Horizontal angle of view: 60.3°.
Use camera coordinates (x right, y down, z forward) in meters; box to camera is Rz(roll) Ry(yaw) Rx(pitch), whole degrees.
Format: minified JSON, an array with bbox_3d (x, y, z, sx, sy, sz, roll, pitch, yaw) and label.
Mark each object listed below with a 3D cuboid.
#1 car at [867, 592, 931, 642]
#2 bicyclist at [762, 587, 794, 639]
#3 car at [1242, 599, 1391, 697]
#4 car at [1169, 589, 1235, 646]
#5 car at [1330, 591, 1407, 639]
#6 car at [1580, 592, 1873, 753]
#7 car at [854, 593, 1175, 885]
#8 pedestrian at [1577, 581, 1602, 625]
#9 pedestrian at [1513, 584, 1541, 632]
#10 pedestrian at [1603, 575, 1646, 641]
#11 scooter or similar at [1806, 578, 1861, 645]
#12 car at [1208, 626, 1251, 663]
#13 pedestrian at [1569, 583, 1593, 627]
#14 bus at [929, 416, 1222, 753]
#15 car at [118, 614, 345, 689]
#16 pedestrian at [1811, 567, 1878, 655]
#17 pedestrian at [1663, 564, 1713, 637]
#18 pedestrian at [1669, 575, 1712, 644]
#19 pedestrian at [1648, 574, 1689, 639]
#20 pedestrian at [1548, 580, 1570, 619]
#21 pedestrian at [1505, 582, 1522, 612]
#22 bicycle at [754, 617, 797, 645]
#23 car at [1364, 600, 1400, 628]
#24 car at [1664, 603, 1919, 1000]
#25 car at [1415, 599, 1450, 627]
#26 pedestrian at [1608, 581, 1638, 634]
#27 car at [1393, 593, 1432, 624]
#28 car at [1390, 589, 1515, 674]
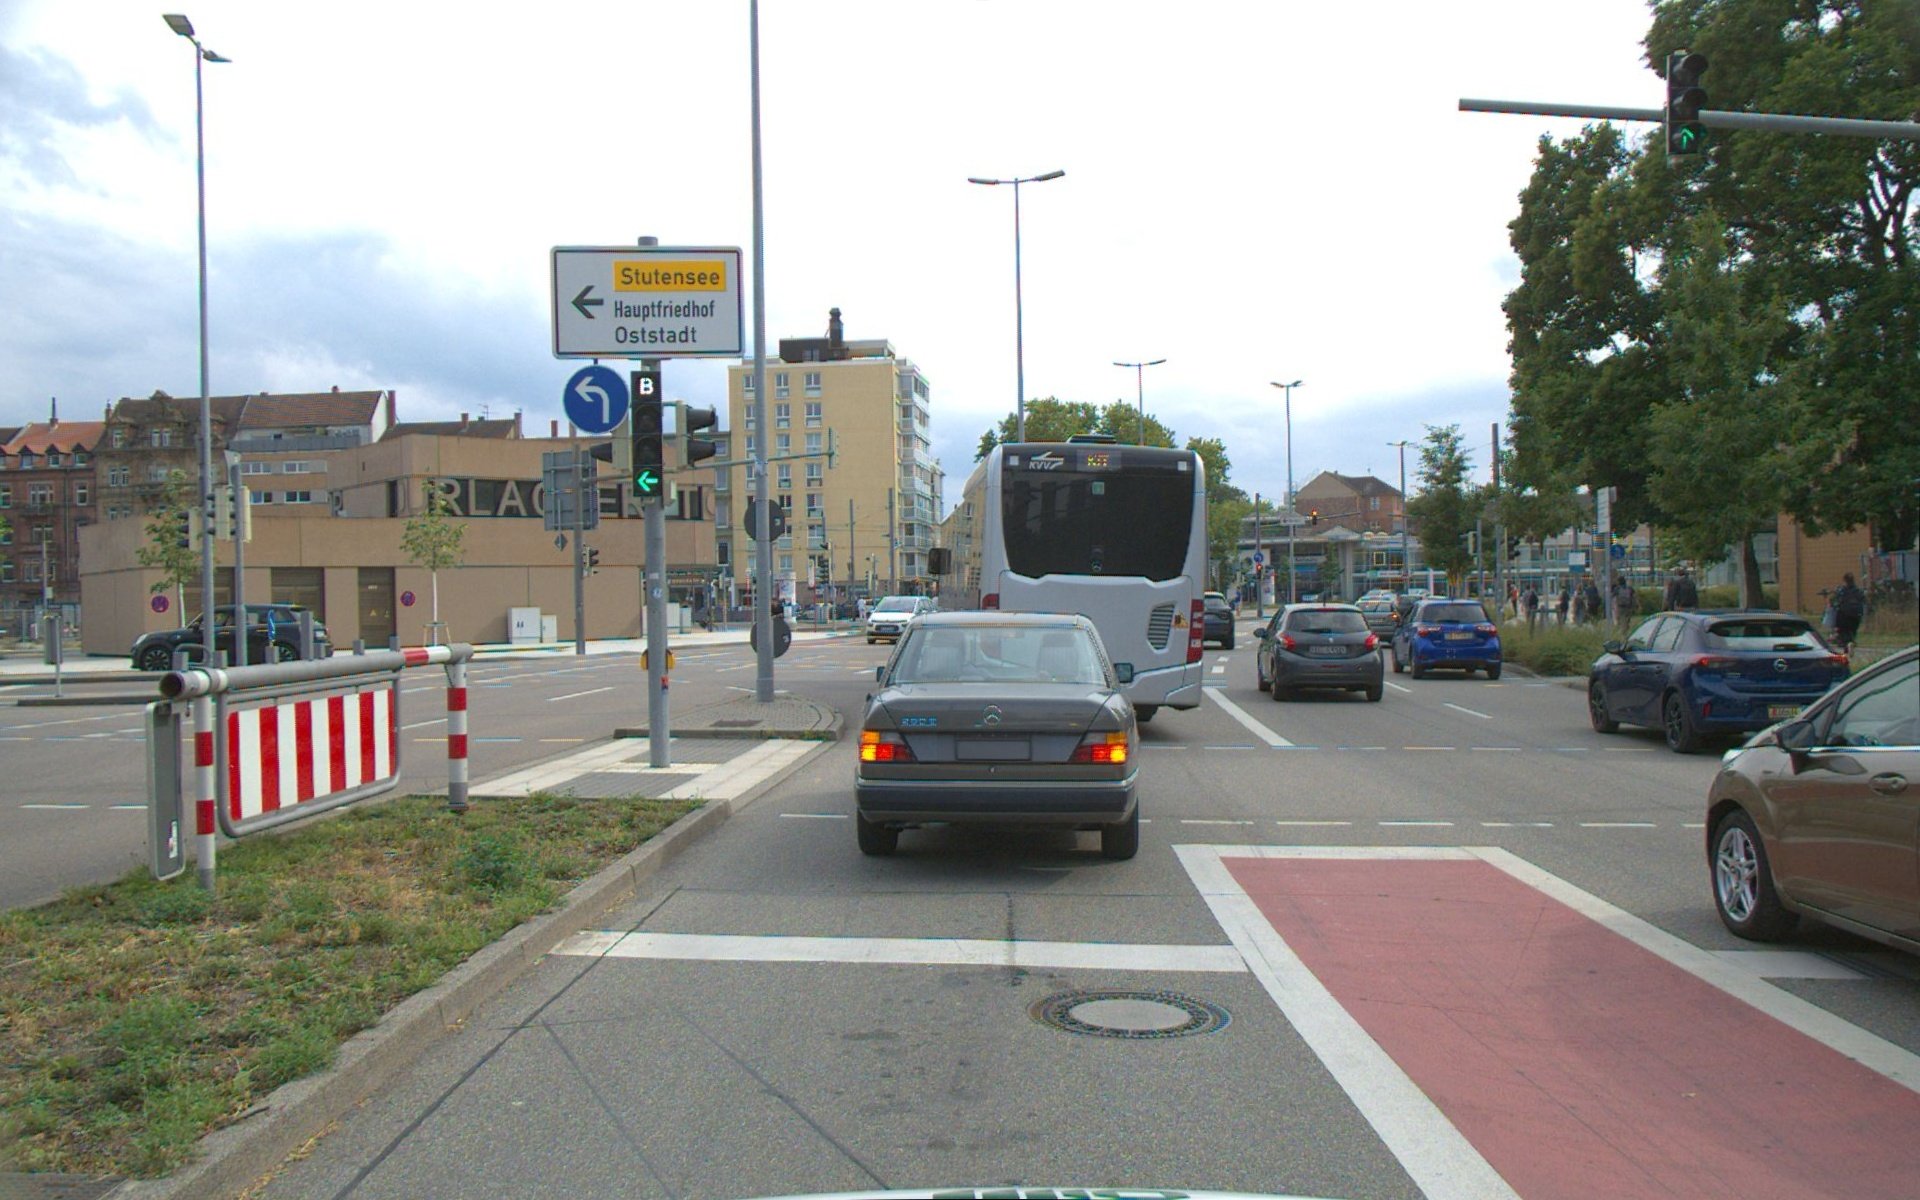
[{"bbox_3d":[-2.121,0.585,58.417,1.952,1.680,4.291,0,0,2],"label":"car"},{"bbox_3d":[-6.026,0.440,54.715,0.848,1.698,0.881,0,-1,7],"label":"bicyclist"},{"bbox_3d":[5.612,0.724,26.460,1.675,1.445,4.001,0,0,2],"label":"car"},{"bbox_3d":[7.208,0.512,49.476,1.795,1.643,3.548,0,0,6],"label":"car"},{"bbox_3d":[12.771,0.464,51.551,2.087,1.445,3.702,0,0,18],"label":"car"},{"bbox_3d":[8.072,0.711,17.764,1.631,1.534,3.636,0,0,3],"label":"car"},{"bbox_3d":[0.213,0.738,10.793,1.661,1.506,4.414,1,0,-2],"label":"car"},{"bbox_3d":[23.381,0.096,61.408,0.762,1.601,0.812,-3,-1,24],"label":"pedestrian"},{"bbox_3d":[19.259,0.274,56.168,0.762,1.601,0.812,-3,-1,24],"label":"pedestrian"},{"bbox_3d":[17.927,0.216,44.657,0.762,1.741,1.028,0,-1,1],"label":"pedestrian"},{"bbox_3d":[18.395,0.245,34.864,0.390,1.394,1.144,1,-1,-12],"label":"scooter or similar"},{"bbox_3d":[11.207,1.822,68.745,1.674,1.445,4.003,0,0,10],"label":"car"},{"bbox_3d":[23.718,0.188,63.149,0.762,1.601,0.812,-3,-1,24],"label":"pedestrian"},{"bbox_3d":[1.111,-0.121,24.838,2.651,3.498,14.175,-2,0,-3],"label":"bus"},{"bbox_3d":[-15.334,1.061,34.985,3.908,1.512,1.998,1,-1,-4],"label":"car"},{"bbox_3d":[16.774,0.209,31.389,0.762,1.601,0.812,-3,-1,1],"label":"pedestrian"},{"bbox_3d":[17.518,0.019,39.814,0.762,1.741,1.028,0,-1,1],"label":"pedestrian"},{"bbox_3d":[18.895,0.245,42.781,0.762,1.741,0.812,0,-1,1],"label":"pedestrian"},{"bbox_3d":[19.181,0.177,44.797,0.762,1.741,0.812,0,-1,1],"label":"pedestrian"},{"bbox_3d":[25.332,-0.016,69.926,0.762,1.601,0.812,-3,-1,24],"label":"pedestrian"},{"bbox_3d":[31.016,-0.166,92.746,0.762,1.601,0.812,-3,-1,24],"label":"pedestrian"},{"bbox_3d":[-6.068,1.015,54.576,0.844,0.892,2.521,0,0,7],"label":"bicycle"},{"bbox_3d":[22.865,0.750,89.591,1.675,1.445,4.002,0,0,18],"label":"car"},{"bbox_3d":[4.287,0.734,6.166,1.661,1.429,3.698,1,0,-2],"label":"car"},{"bbox_3d":[24.848,0.670,86.934,1.668,1.445,3.702,0,0,18],"label":"car"},{"bbox_3d":[20.629,0.224,51.436,0.762,1.601,0.812,-3,-1,24],"label":"pedestrian"},{"bbox_3d":[21.961,0.402,80.282,1.668,1.445,3.702,0,0,18],"label":"car"},{"bbox_3d":[9.697,0.595,32.847,1.818,1.559,4.005,0,0,8],"label":"car"}]
